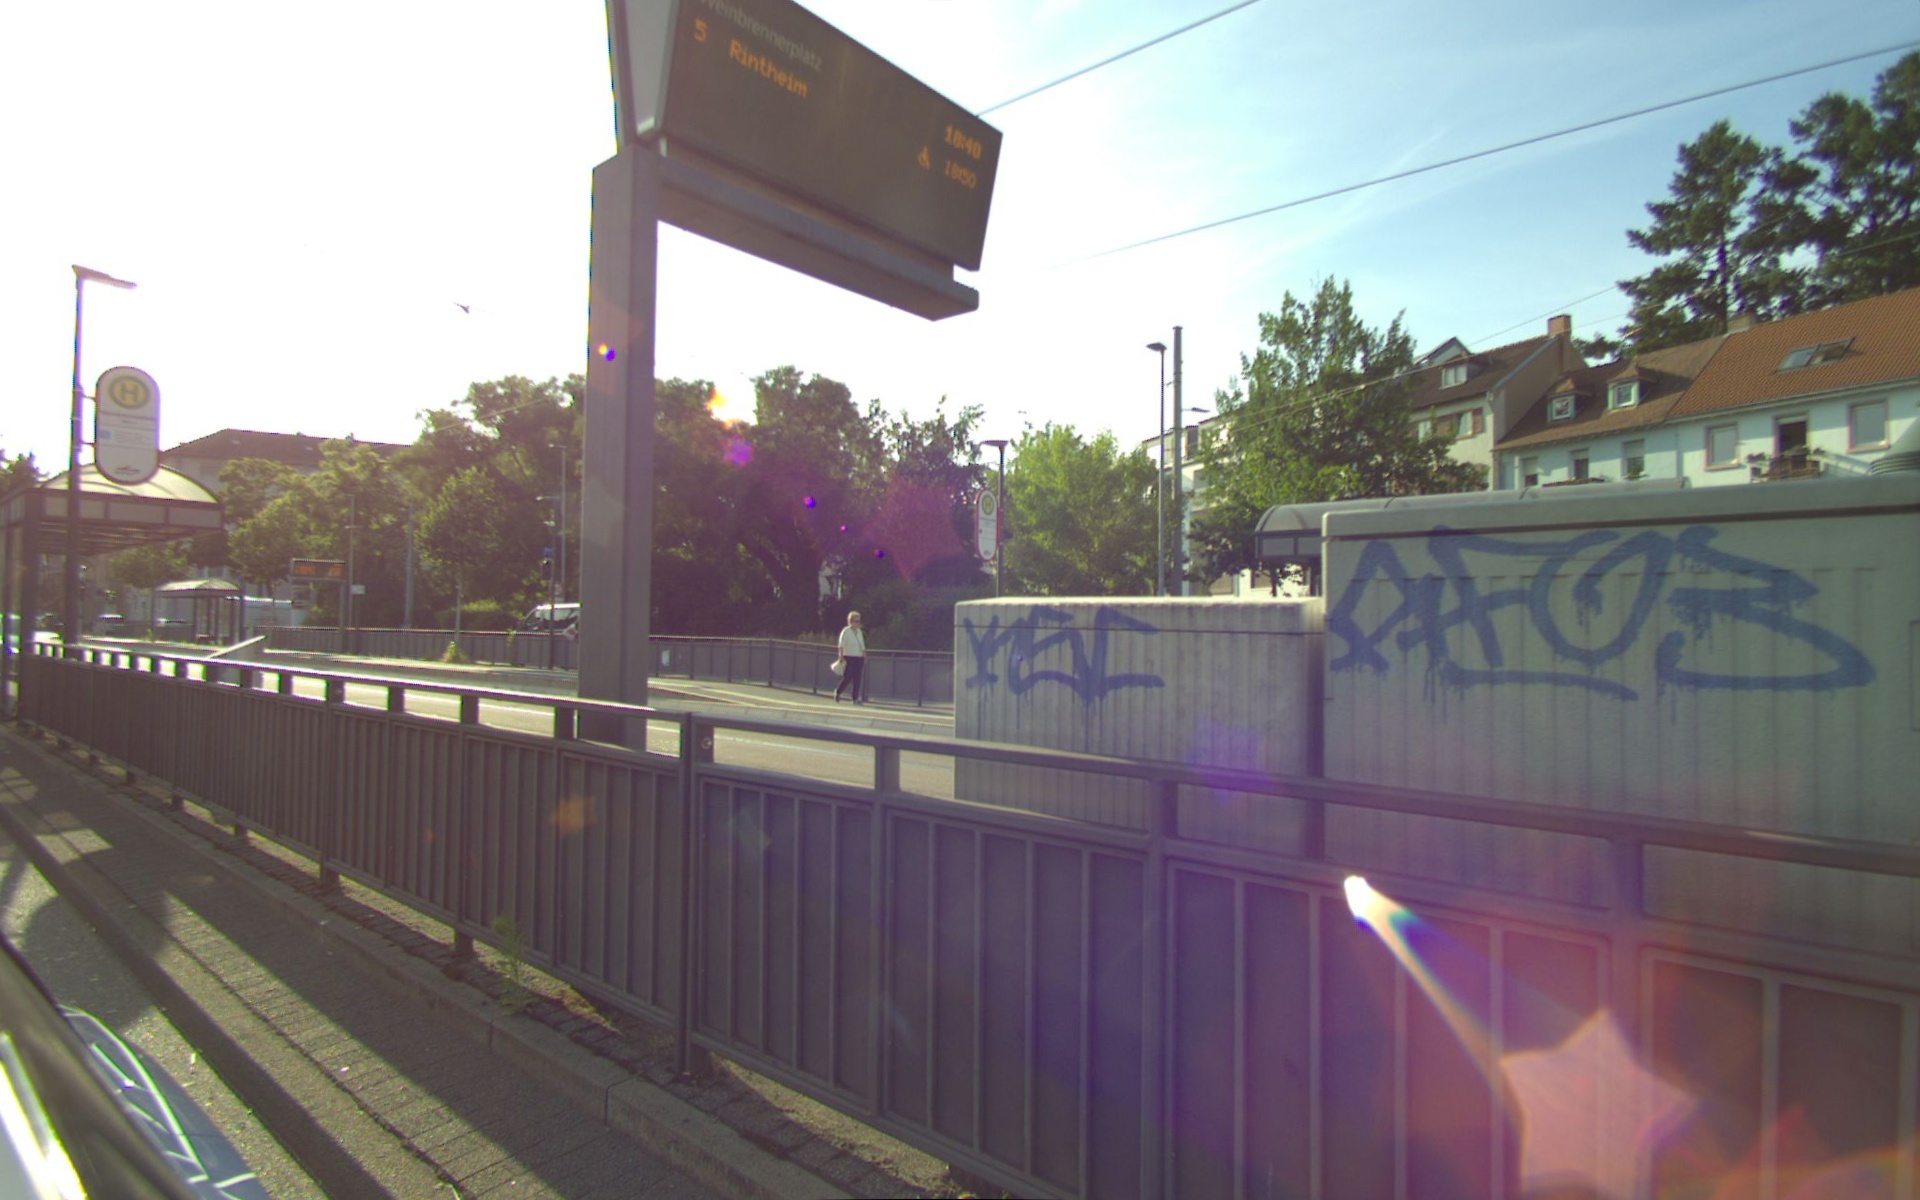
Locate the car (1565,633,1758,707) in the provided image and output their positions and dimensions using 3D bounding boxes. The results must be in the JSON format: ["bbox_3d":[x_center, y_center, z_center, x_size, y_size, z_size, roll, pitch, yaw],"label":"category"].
[{"bbox_3d":[14.961,1.440,21.567,3.931,1.439,1.778,2,-2,-28],"label":"car"}]

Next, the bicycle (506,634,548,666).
[{"bbox_3d":[-16.239,1.868,37.910,1.864,1.118,0.718,-1,0,42],"label":"bicycle"}]

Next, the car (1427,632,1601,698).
[{"bbox_3d":[13.243,1.523,24.168,3.931,1.439,1.778,2,-2,-28],"label":"car"}]

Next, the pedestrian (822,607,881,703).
[{"bbox_3d":[-1.907,0.955,17.816,0.727,1.640,0.699,-1,-2,41],"label":"pedestrian"}]

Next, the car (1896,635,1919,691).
[{"bbox_3d":[29.087,1.819,29.010,3.930,1.570,1.862,2,-2,-24],"label":"car"}]

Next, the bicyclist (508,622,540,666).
[{"bbox_3d":[-16.370,1.642,38.006,1.071,1.636,0.697,-2,0,41],"label":"bicyclist"}]

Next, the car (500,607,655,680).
[{"bbox_3d":[-11.726,1.272,30.833,5.384,2.029,2.123,-1,-2,41],"label":"car"}]

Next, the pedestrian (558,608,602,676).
[{"bbox_3d":[-9.277,1.019,24.696,0.689,1.640,0.727,-1,-2,41],"label":"pedestrian"}]

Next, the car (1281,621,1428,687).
[{"bbox_3d":[11.235,1.511,28.783,3.931,1.767,1.860,2,-2,-31],"label":"car"}]

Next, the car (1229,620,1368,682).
[{"bbox_3d":[10.205,1.516,30.506,3.931,1.767,1.860,2,-2,-31],"label":"car"}]

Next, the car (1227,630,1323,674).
[{"bbox_3d":[13.858,2.267,44.798,1.786,1.814,4.013,2,-2,-26],"label":"car"}]

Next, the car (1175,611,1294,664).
[{"bbox_3d":[9.722,1.339,35.844,3.931,1.767,1.860,2,-2,-31],"label":"car"}]

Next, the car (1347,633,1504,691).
[{"bbox_3d":[12.341,1.610,26.807,3.931,1.439,1.778,2,-2,-28],"label":"car"}]
